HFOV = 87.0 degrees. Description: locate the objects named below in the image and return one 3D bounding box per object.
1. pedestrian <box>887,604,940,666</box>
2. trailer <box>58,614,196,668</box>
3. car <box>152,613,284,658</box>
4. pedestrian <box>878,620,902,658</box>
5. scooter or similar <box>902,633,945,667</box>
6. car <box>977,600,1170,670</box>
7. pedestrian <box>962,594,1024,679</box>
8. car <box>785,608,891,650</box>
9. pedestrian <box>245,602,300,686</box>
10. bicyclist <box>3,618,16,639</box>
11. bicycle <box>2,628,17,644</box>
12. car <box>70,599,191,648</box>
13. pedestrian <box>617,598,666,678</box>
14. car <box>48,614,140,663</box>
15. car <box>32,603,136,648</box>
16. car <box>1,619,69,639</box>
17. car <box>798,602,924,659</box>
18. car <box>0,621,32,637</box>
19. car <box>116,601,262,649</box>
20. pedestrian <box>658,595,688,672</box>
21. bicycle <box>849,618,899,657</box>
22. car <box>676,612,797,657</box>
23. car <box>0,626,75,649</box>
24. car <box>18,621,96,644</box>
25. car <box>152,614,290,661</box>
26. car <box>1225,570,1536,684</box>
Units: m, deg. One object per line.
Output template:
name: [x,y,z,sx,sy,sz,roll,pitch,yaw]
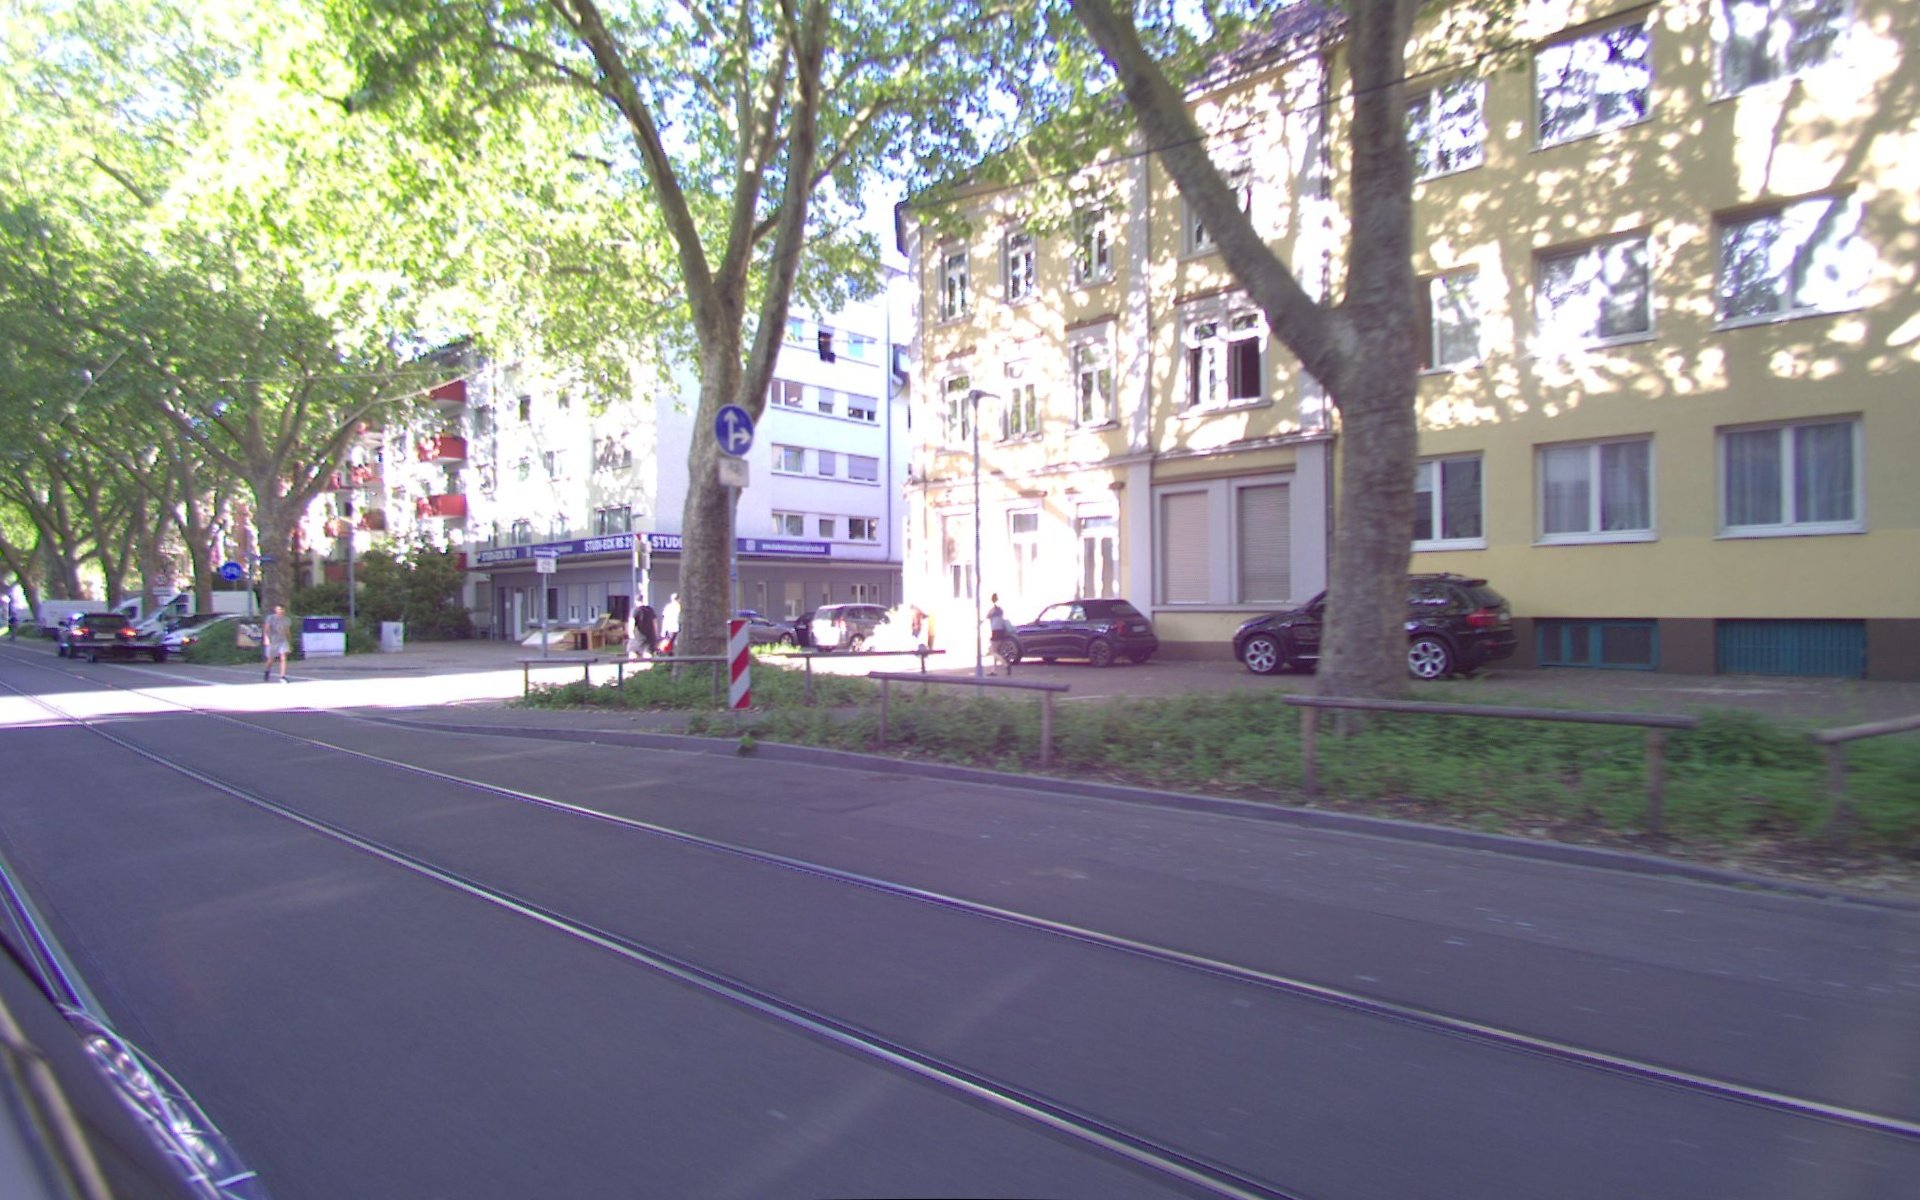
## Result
pedestrian: [-1.165,0.850,25.113,1.068,1.490,0.765,-1,0,41]
trailer: [-27.940,1.322,33.845,6.580,1.644,2.421,-1,-3,40]
car: [-30.027,1.389,41.022,1.999,1.657,3.946,-1,0,40]
pedestrian: [-1.972,1.092,28.584,0.540,1.048,0.542,-1,0,9]
scooter or similar: [-0.881,1.188,24.331,0.896,0.759,0.522,-1,0,41]
car: [2.479,0.733,22.654,3.997,1.398,1.761,-1,0,40]
pedestrian: [0.665,0.722,20.515,1.009,1.650,0.704,-1,0,39]
car: [-4.910,1.137,41.252,1.896,1.619,4.098,-1,-1,41]
pedestrian: [-15.186,0.950,22.361,0.798,1.805,0.693,-1,0,30]
bicyclist: [-56.654,1.671,60.320,0.666,1.222,0.526,-1,0,43]
bicycle: [-56.633,2.117,60.311,1.557,0.913,0.526,-1,0,43]
car: [-42.808,1.169,52.305,2.000,2.323,4.600,-1,0,42]
pedestrian: [-7.224,0.839,22.982,0.732,1.770,0.733,-1,0,28]
car: [-32.040,1.402,37.412,4.179,1.696,1.903,-1,-3,40]
car: [-53.663,1.501,62.083,2.000,2.552,4.600,-1,0,42]
car: [-76.002,2.378,83.175,1.999,1.478,3.946,-1,0,40]
car: [-3.269,0.999,33.939,1.799,1.650,3.959,-6,-3,41]
car: [-94.016,2.908,99.458,1.791,1.478,3.946,-1,0,40]
car: [-35.774,1.099,47.098,1.997,2.010,5.072,-1,0,37]
pedestrian: [-6.893,0.783,24.286,0.658,1.793,0.726,-1,0,-16]
bicycle: [-2.573,1.115,30.546,0.652,1.070,1.853,-5,-1,23]
car: [-8.214,1.235,37.430,1.834,1.489,4.099,-1,0,41]
car: [-68.969,2.777,75.718,1.999,1.478,3.946,-1,0,40]
car: [-64.936,2.293,72.794,1.999,1.478,3.946,-1,0,40]
car: [-28.314,1.381,38.877,1.908,1.622,3.946,-1,0,40]
car: [7.297,0.423,17.920,4.697,1.749,1.971,-1,0,44]
